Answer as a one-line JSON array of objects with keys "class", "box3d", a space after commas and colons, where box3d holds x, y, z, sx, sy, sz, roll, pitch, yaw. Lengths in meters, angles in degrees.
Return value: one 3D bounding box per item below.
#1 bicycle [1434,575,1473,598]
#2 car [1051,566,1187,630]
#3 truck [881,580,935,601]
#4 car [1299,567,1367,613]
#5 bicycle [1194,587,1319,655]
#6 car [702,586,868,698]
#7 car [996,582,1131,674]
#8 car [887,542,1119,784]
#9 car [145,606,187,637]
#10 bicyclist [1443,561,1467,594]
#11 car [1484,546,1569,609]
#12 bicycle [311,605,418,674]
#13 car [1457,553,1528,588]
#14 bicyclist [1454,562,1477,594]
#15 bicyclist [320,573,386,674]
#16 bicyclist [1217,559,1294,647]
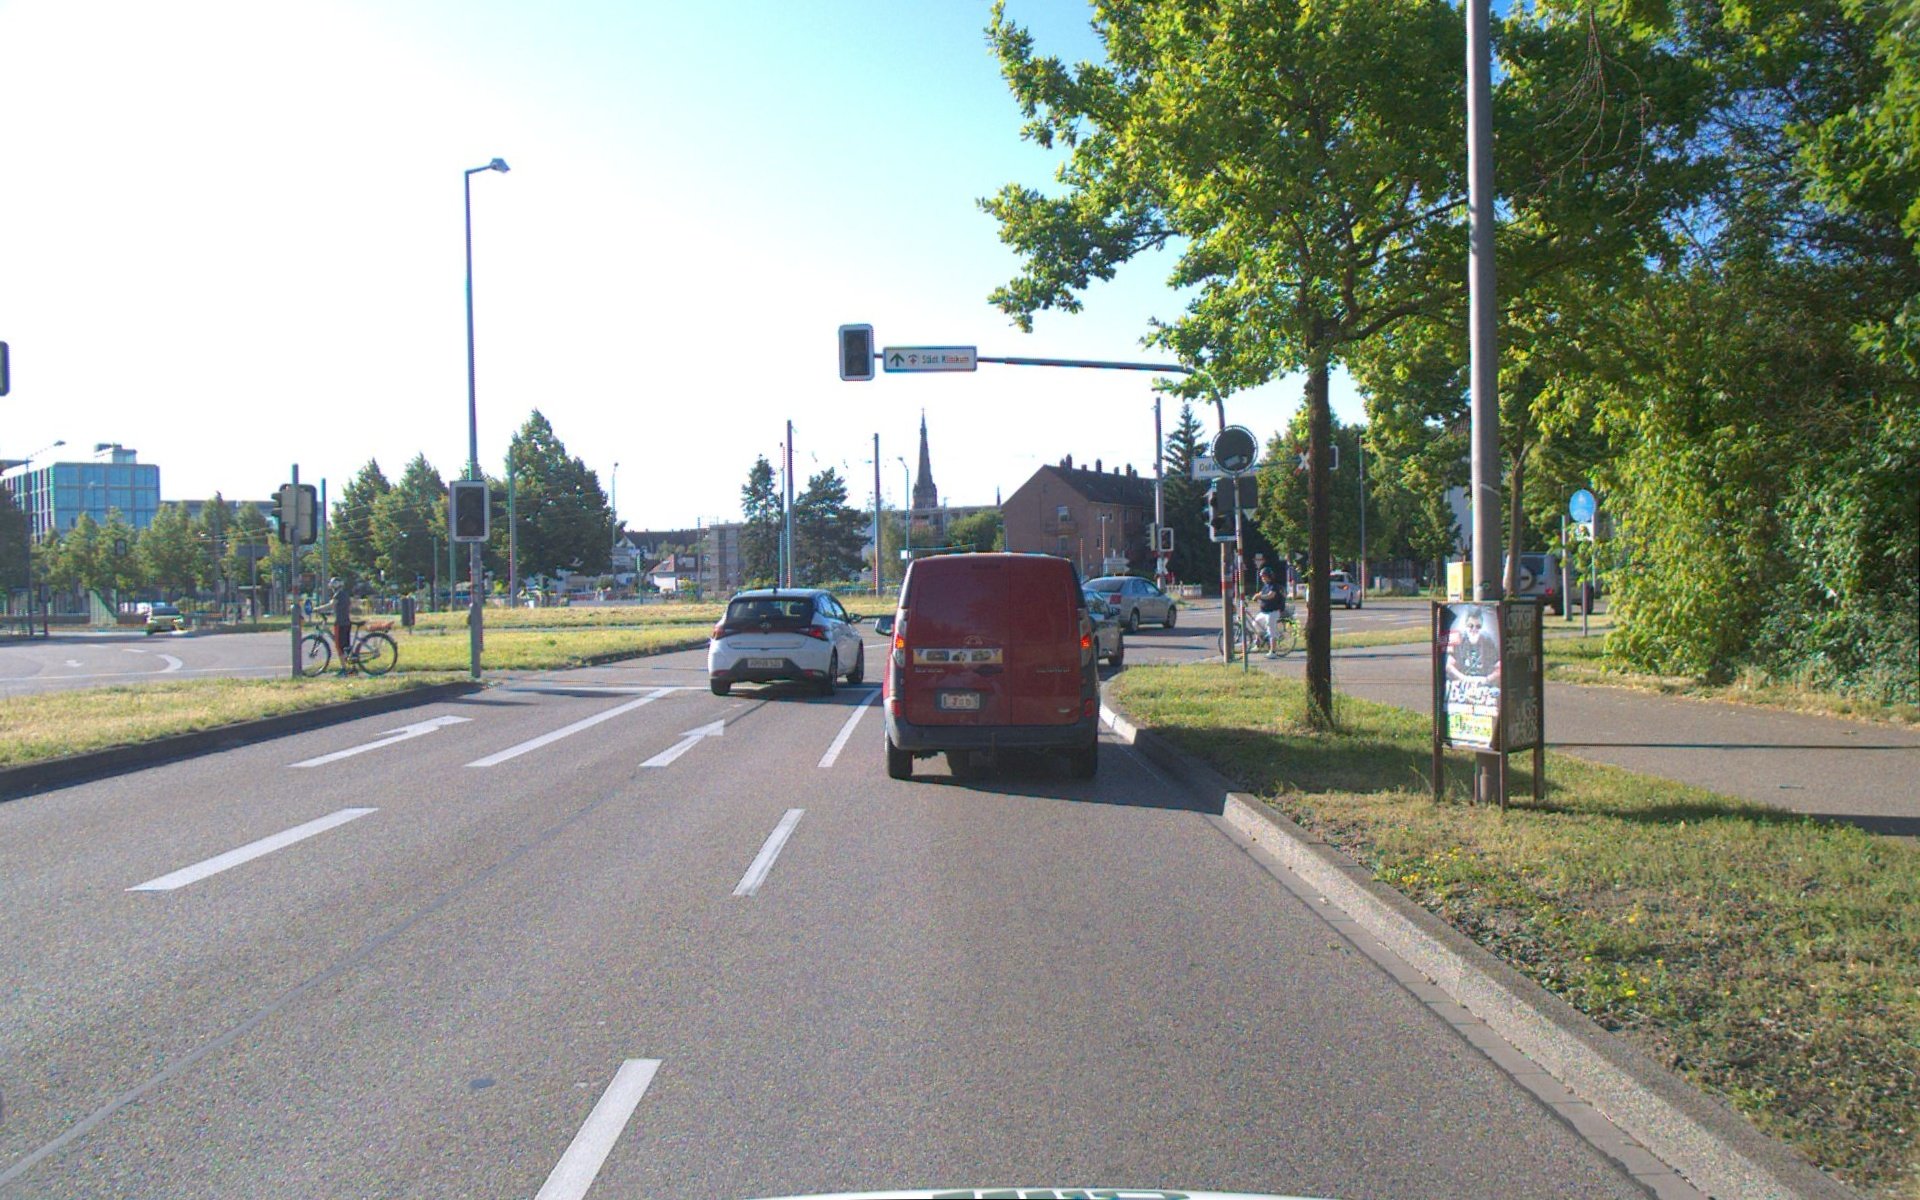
[{"class": "bicycle", "box3d": [29.093, -0.793, 97.579, 0.874, 1.288, 2.183, 1, -1, -34]}, {"class": "car", "box3d": [4.415, -0.073, 45.281, 1.957, 1.602, 4.398, -1, 1, 31]}, {"class": "truck", "box3d": [-5.285, -0.964, 168.164, 2.150, 2.049, 6.345, 1, -1, -39]}, {"class": "car", "box3d": [14.565, -0.408, 64.412, 1.952, 1.667, 4.409, -1, 1, 20]}, {"class": "bicycle", "box3d": [5.607, 0.395, 31.249, 2.181, 1.175, 0.870, -3, -1, -24]}, {"class": "car", "box3d": [-2.453, 0.548, 24.079, 1.765, 1.487, 3.811, 0, 0, 4]}, {"class": "car", "box3d": [1.903, 0.444, 29.146, 1.677, 1.461, 4.155, -1, 0, 13]}, {"class": "car", "box3d": [0.342, 0.474, 14.553, 1.765, 1.845, 3.810, 0, 0, 0]}, {"class": "car", "box3d": [-43.492, 1.173, 90.567, 1.979, 1.568, 4.287, -2, 1, -27]}, {"class": "bicyclist", "box3d": [29.165, -1.330, 97.482, 0.874, 1.885, 1.013, 1, -1, -34]}, {"class": "car", "box3d": [18.208, -0.690, 53.352, 1.954, 1.930, 4.757, -1, 0, 11]}, {"class": "bicycle", "box3d": [-10.211, 0.672, 28.412, 1.620, 1.148, 0.702, -1, -1, -10]}, {"class": "car", "box3d": [25.469, -1.400, 79.225, 1.953, 1.566, 4.408, -2, 1, 0]}, {"class": "bicyclist", "box3d": [30.151, -1.314, 98.688, 0.874, 1.885, 1.013, 1, -1, -34]}, {"class": "bicyclist", "box3d": [-10.406, 0.401, 28.369, 0.923, 1.692, 0.703, -1, -1, -10]}, {"class": "bicyclist", "box3d": [5.574, 0.060, 31.238, 1.070, 1.589, 0.870, -2, -1, -24]}]
